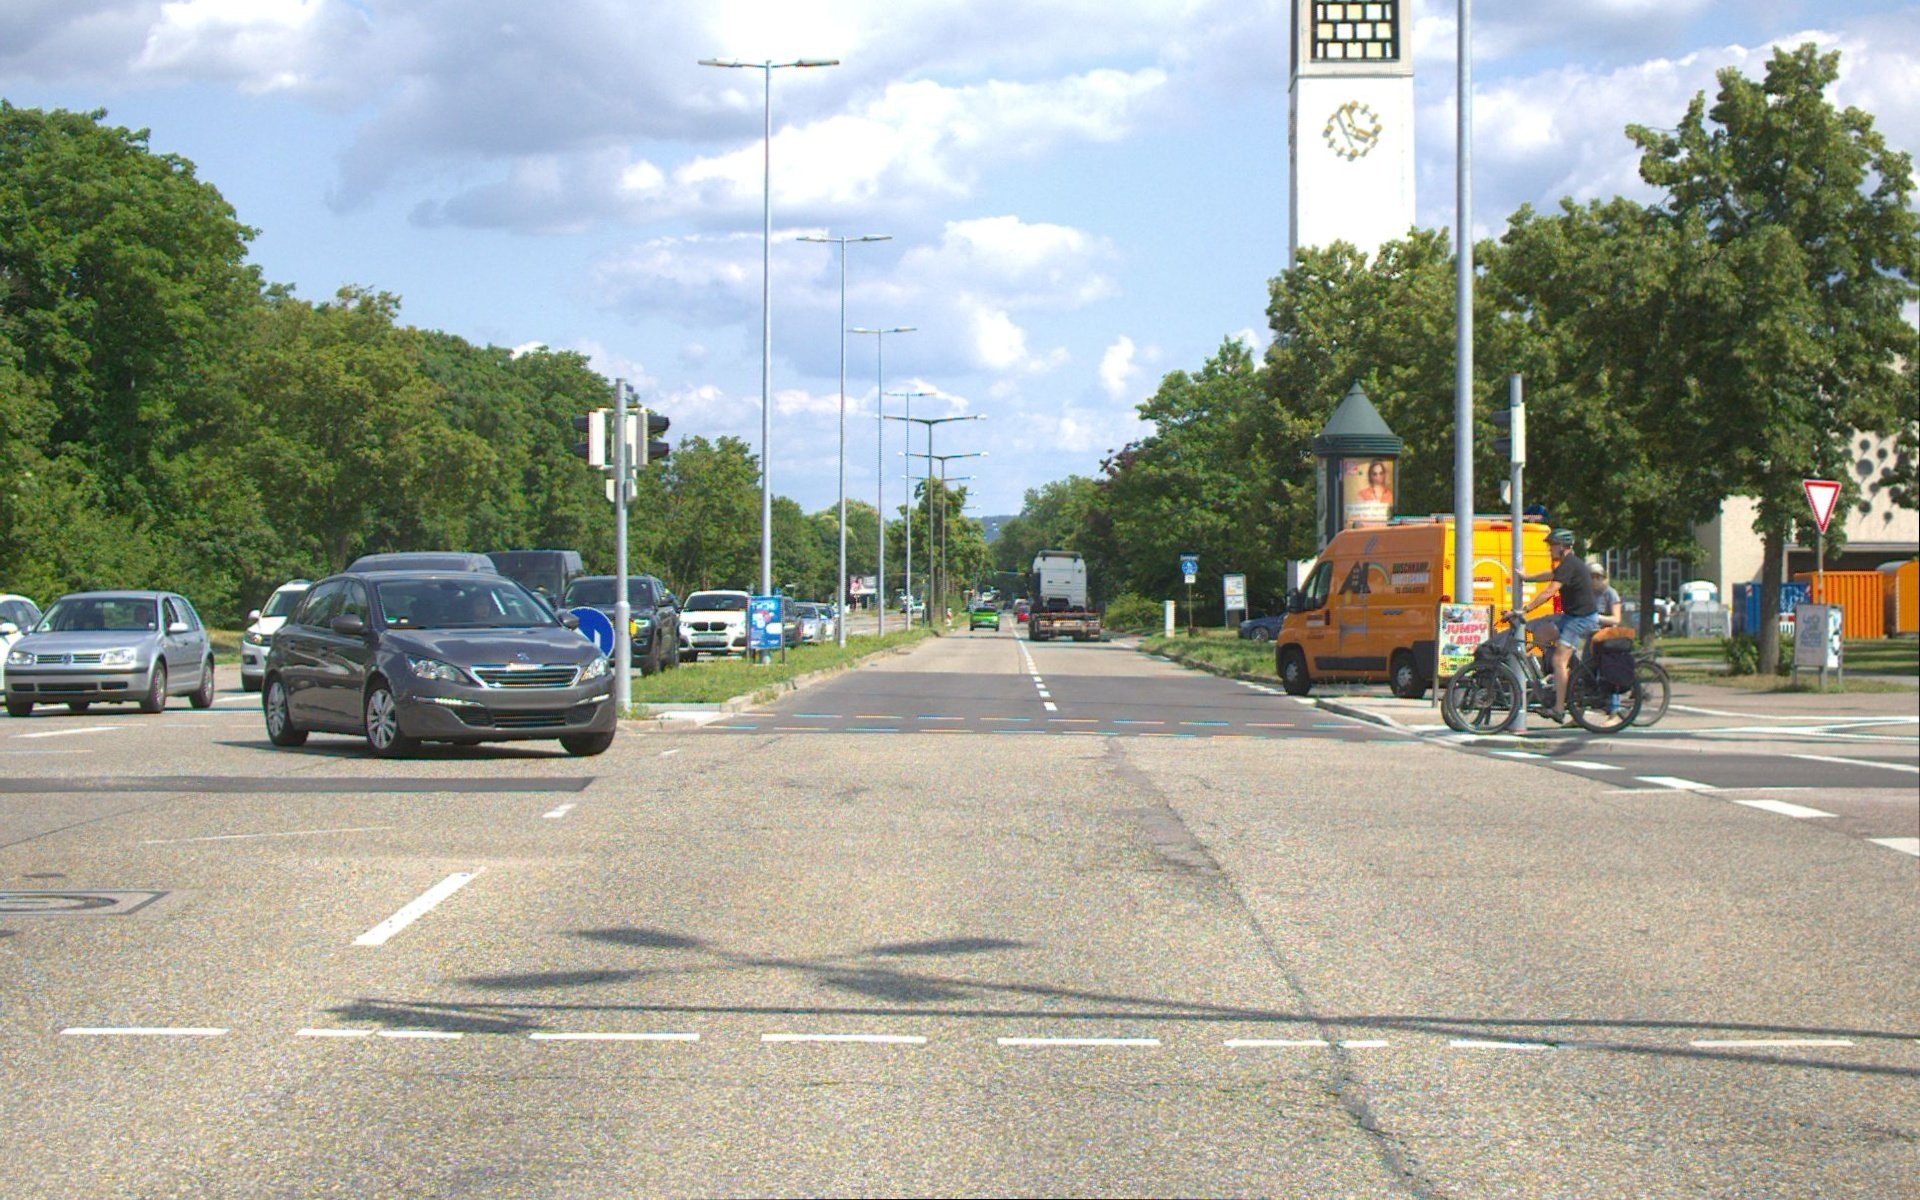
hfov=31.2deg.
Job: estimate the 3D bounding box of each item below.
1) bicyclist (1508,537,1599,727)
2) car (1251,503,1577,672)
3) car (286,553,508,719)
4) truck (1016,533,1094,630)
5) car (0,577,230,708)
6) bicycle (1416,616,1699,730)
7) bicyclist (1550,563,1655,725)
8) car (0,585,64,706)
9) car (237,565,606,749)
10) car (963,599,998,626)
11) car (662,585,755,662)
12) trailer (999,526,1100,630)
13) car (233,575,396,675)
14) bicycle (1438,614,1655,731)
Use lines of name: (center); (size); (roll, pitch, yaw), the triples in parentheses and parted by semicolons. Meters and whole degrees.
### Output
bicyclist: (5.704, 0.304, 33.082); (0.787, 1.798, 0.686); (0, 0, 5)
car: (6.363, -0.193, 48.805); (2.204, 2.218, 4.861); (2, 0, -26)
car: (-6.196, 0.353, 38.223); (1.734, 1.654, 4.231); (2, 1, 0)
truck: (4.100, -0.738, 146.631); (2.960, 3.957, 8.636); (1, -1, 4)
car: (-9.775, 0.472, 39.976); (1.725, 1.393, 4.000); (2, 0, -1)
bicycle: (6.030, 0.722, 34.627); (2.832, 1.108, 0.797); (0, 1, -24)
bicyclist: (6.509, 0.435, 34.837); (0.698, 1.610, 0.797); (0, 0, -24)
car: (-13.064, 0.549, 44.514); (1.858, 1.508, 4.000); (2, 0, -1)
car: (-4.230, 0.475, 26.656); (1.568, 1.312, 3.431); (2, -3, -32)
car: (1.260, 0.776, 212.664); (1.993, 1.547, 4.000); (2, 0, -1)
car: (-5.737, 0.536, 78.812); (1.734, 1.654, 4.231); (2, 0, 0)
trailer: (3.713, -0.800, 139.243); (3.621, 3.998, 11.317); (1, -1, 4)
car: (-9.760, 0.364, 52.232); (1.725, 1.393, 4.000); (2, 0, -1)
bicycle: (5.629, 0.690, 33.091); (1.997, 1.090, 0.686); (0, 0, 5)
